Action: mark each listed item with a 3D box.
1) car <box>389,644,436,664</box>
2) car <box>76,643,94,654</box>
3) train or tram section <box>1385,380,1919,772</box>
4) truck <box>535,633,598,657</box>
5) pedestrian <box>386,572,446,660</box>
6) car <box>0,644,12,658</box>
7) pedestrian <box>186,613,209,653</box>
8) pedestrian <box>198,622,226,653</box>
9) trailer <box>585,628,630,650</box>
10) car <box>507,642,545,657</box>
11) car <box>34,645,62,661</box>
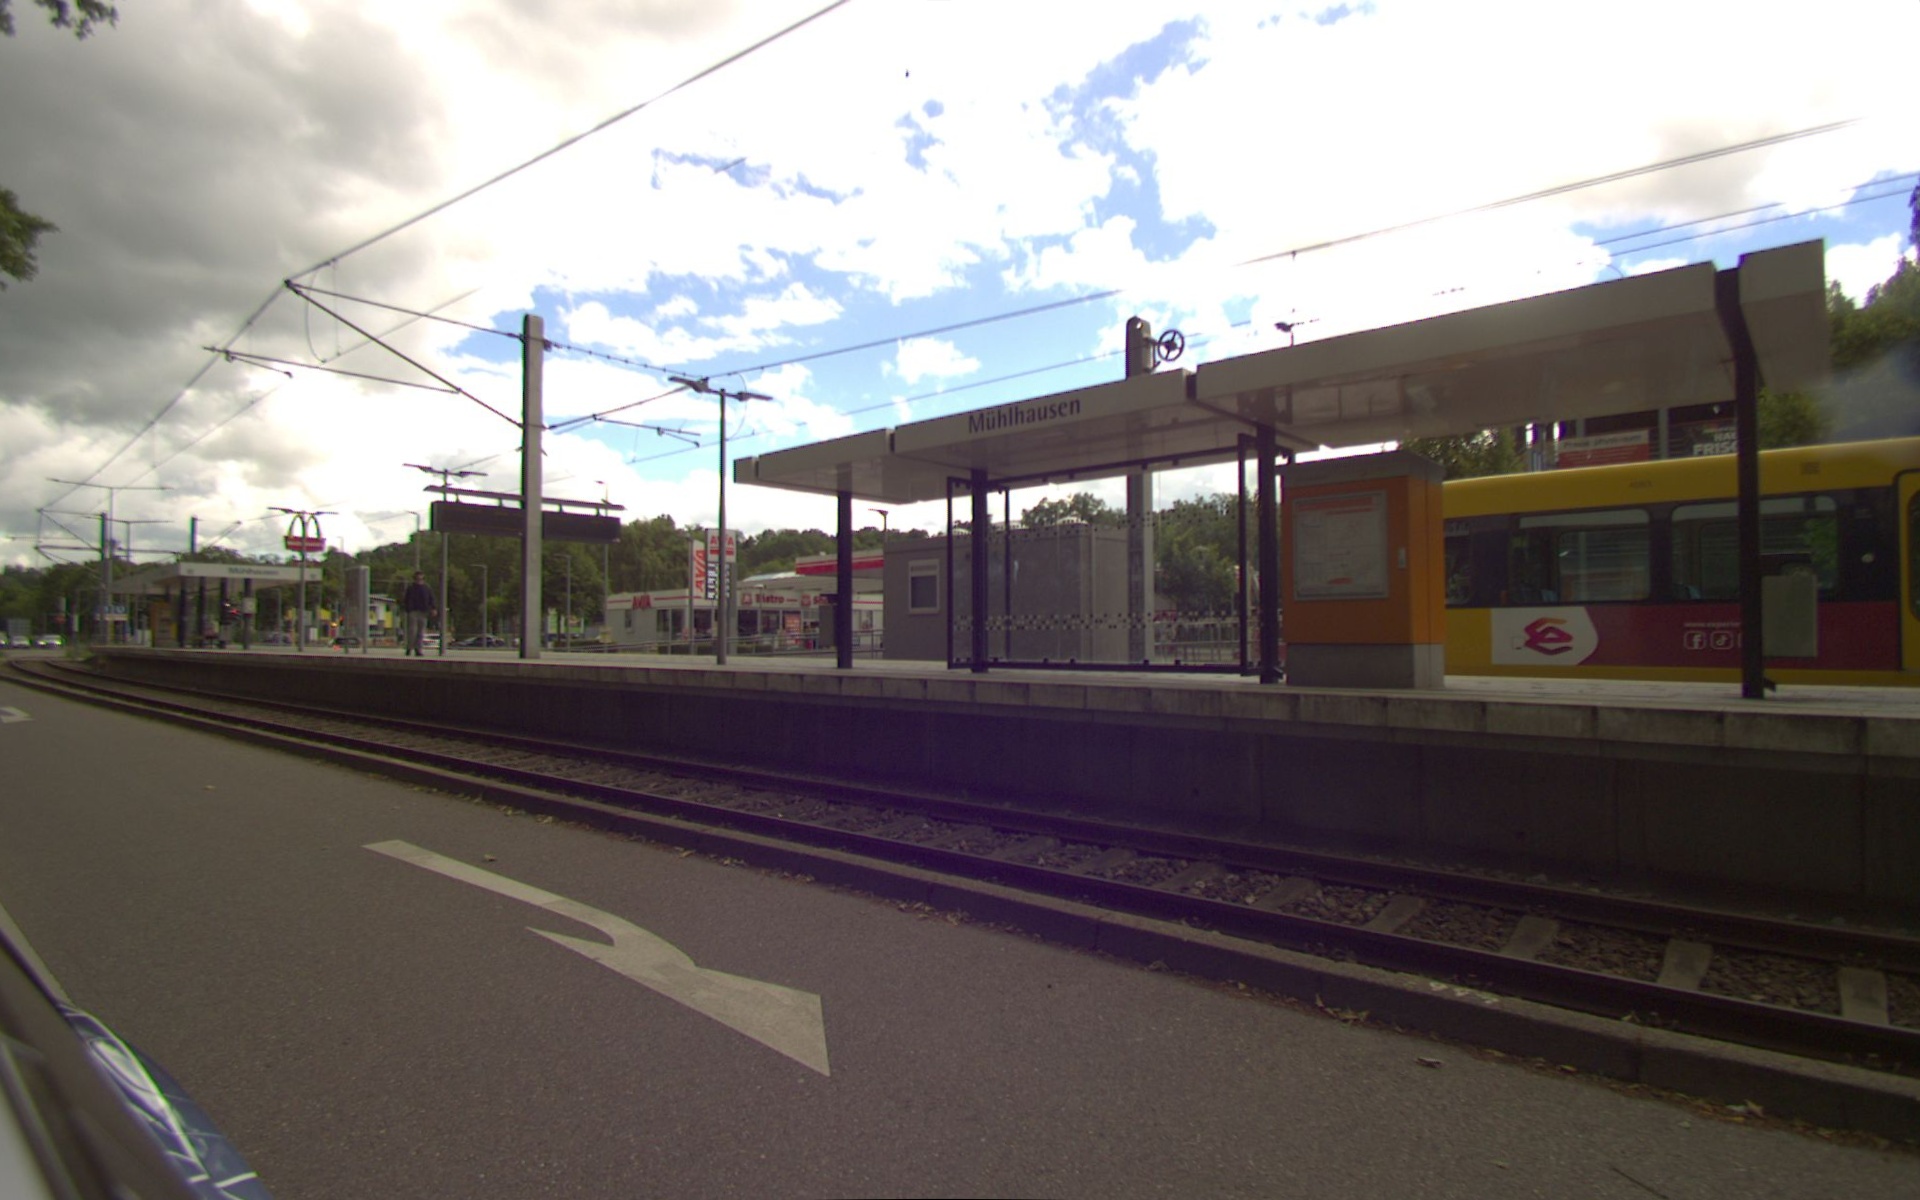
[{"bbox_3d":[-37.605,3.707,69.524,4.030,1.360,1.595,-3,-3,42],"label":"car"},{"bbox_3d":[-159.960,8.817,185.027,3.998,2.029,1.972,-2,-4,41],"label":"car"},{"bbox_3d":[13.494,-0.334,8.292,18.630,3.912,2.726,-2,-3,43],"label":"train or tram section"},{"bbox_3d":[-42.001,4.762,108.094,2.386,2.513,5.743,-2,-3,43],"label":"truck"},{"bbox_3d":[-11.150,0.346,20.755,0.936,1.757,0.741,-2,-4,41],"label":"pedestrian"},{"bbox_3d":[-108.107,5.684,113.867,1.803,1.564,4.007,4,-4,-39],"label":"car"},{"bbox_3d":[-31.442,1.366,41.734,0.572,1.633,0.577,-2,-5,43],"label":"pedestrian"},{"bbox_3d":[-29.855,1.492,40.388,0.760,1.198,0.728,2,-3,-45],"label":"pedestrian"},{"bbox_3d":[-37.753,4.223,108.472,1.559,2.275,4.331,-2,-4,41],"label":"trailer"},{"bbox_3d":[-49.669,5.683,115.975,1.725,1.566,3.595,-2,-4,38],"label":"car"},{"bbox_3d":[-95.091,5.498,105.545,1.937,1.564,4.007,4,-4,-39],"label":"car"}]
